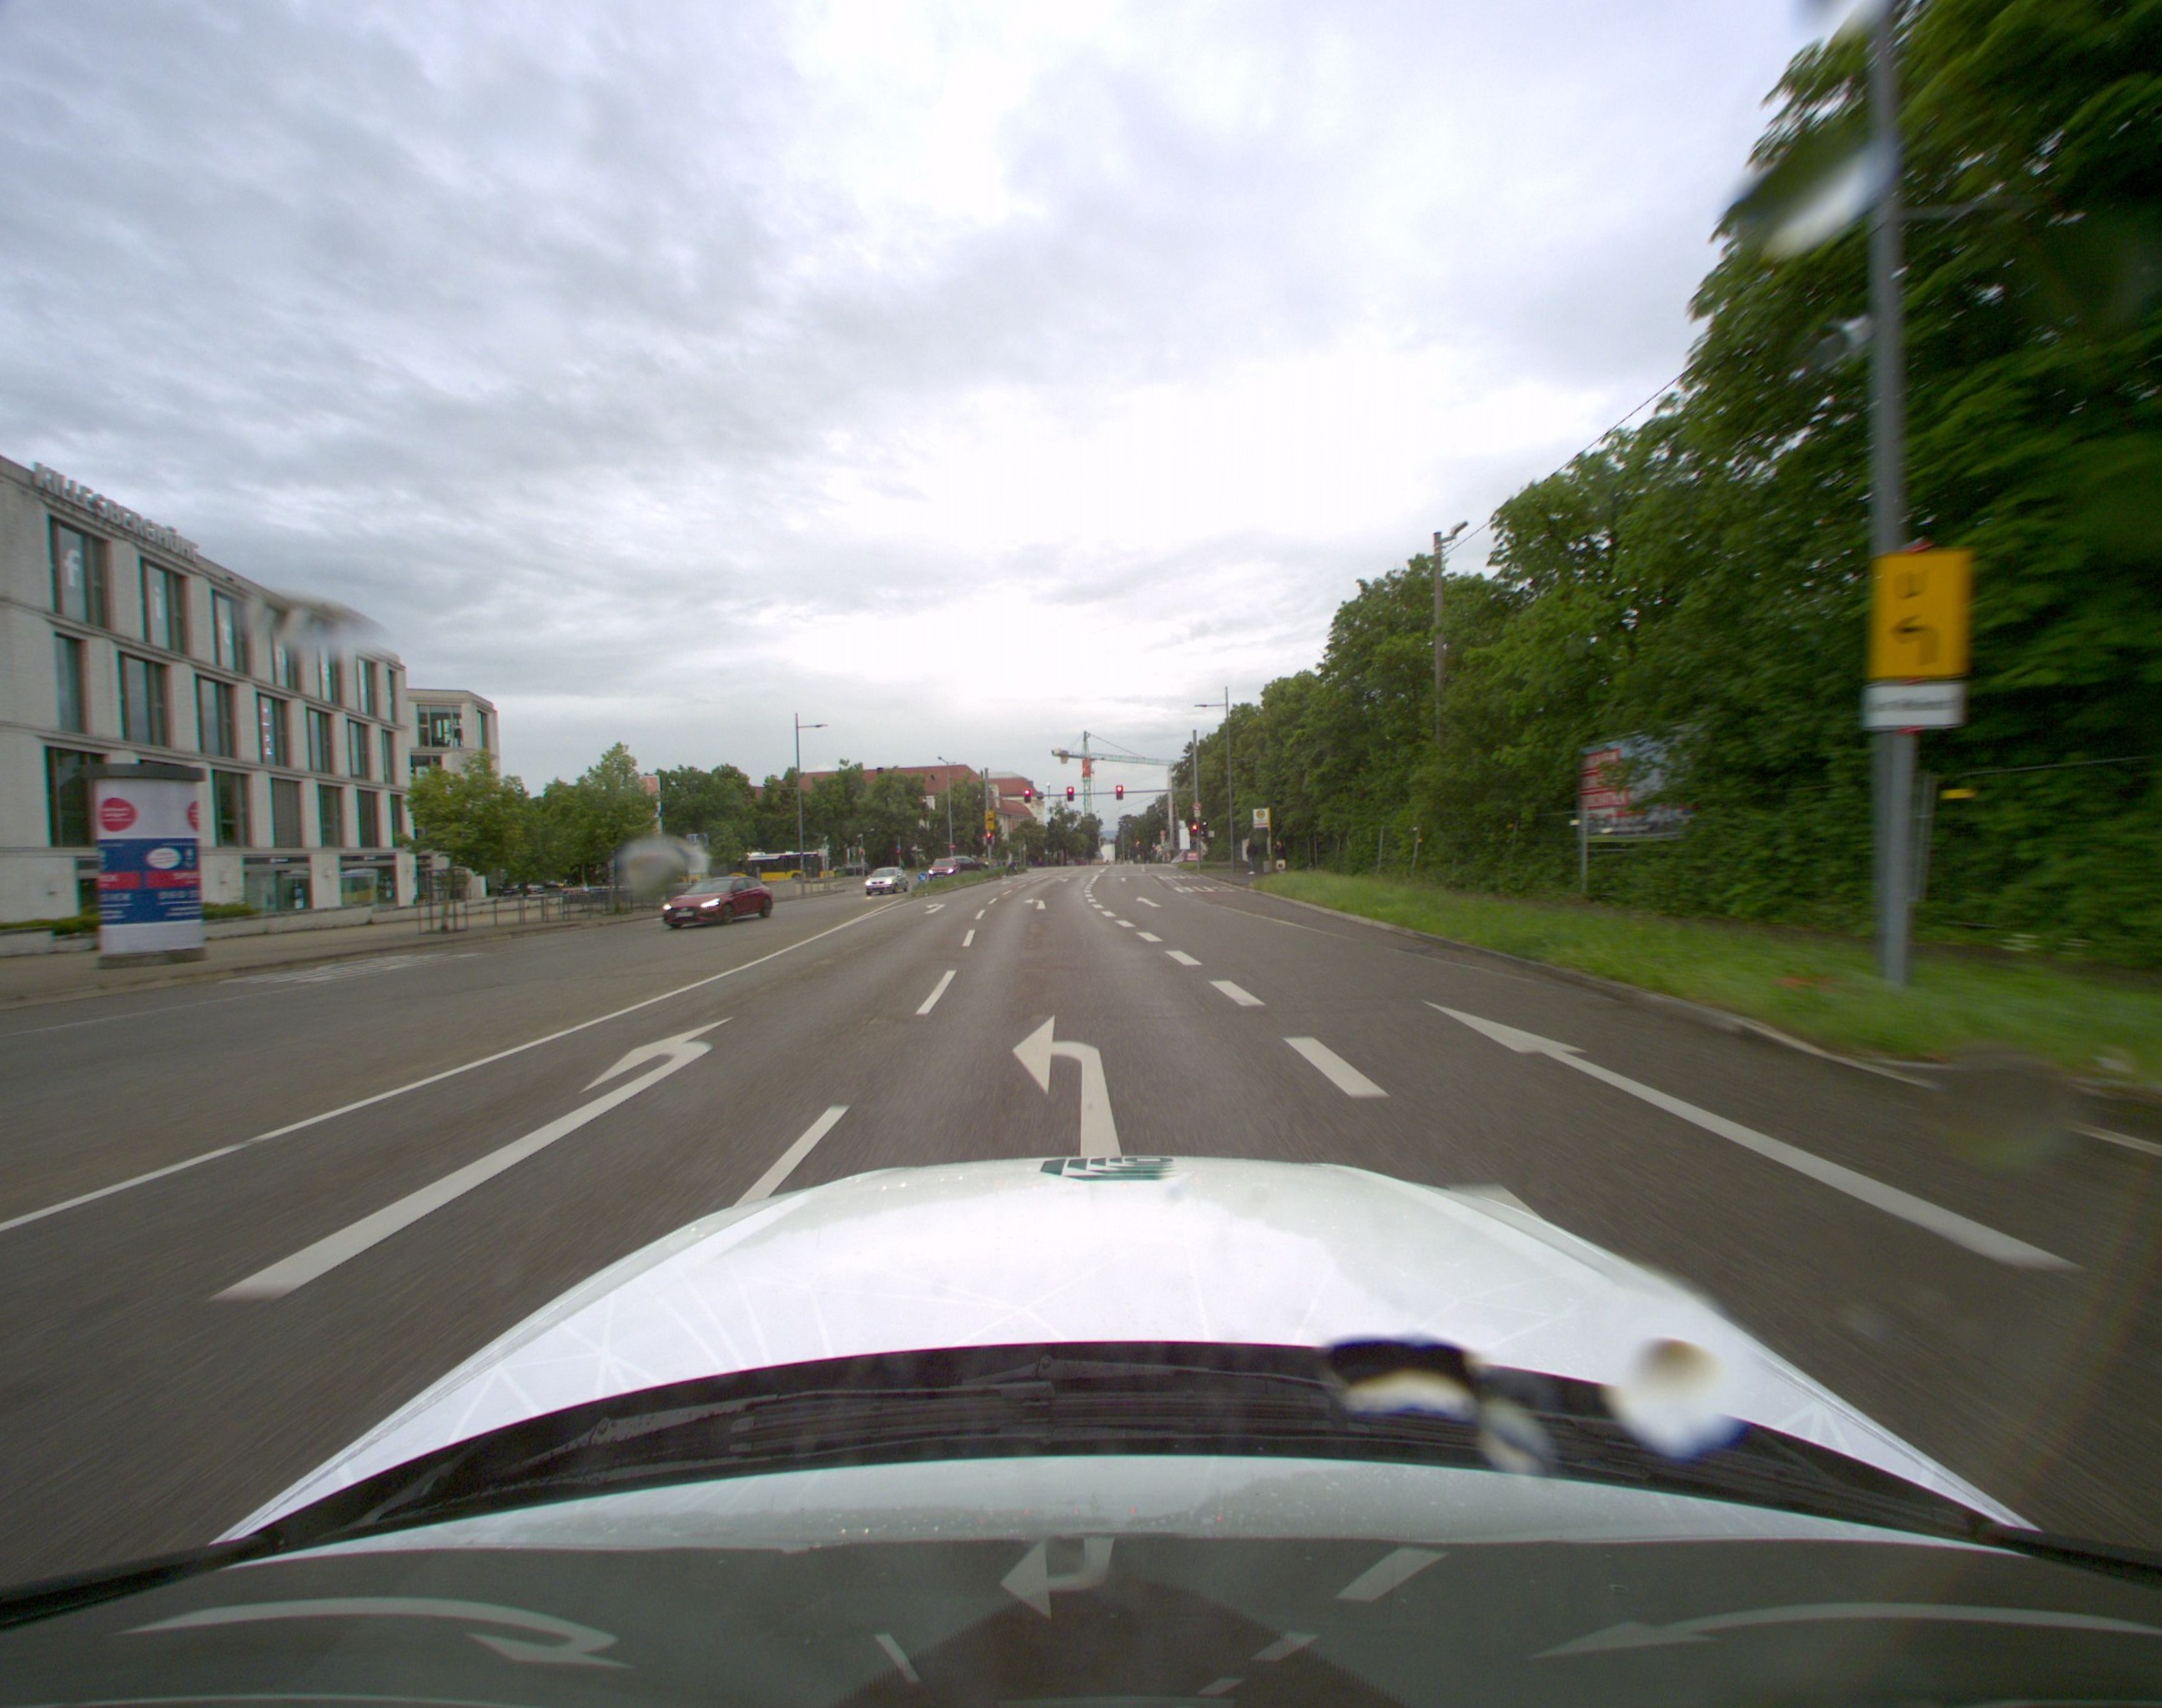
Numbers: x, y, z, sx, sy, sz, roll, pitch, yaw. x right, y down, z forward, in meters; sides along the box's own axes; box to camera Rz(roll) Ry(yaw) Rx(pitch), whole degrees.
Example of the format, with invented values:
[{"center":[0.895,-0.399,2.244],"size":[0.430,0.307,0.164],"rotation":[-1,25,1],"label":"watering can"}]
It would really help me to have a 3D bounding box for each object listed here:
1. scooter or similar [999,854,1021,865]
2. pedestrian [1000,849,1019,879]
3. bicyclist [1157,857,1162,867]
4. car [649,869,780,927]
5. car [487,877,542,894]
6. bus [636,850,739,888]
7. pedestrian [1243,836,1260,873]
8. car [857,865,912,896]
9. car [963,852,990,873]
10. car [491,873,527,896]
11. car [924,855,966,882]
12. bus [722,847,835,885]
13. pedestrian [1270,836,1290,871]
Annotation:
[{"center":[-10.133,0.766,116.365],"size":[3.077,1.440,0.949],"rotation":[-3,0,0],"label":"scooter or similar"},{"center":[-4.957,0.694,56.408],"size":[0.935,2.013,0.849],"rotation":[-5,-1,8],"label":"pedestrian"},{"center":[12.832,1.360,133.276],"size":[0.717,1.564,1.144],"rotation":[0,-2,4],"label":"bicyclist"},{"center":[-11.330,1.307,25.556],"size":[1.824,1.416,4.468],"rotation":[-4,0,2],"label":"car"},{"center":[-53.009,2.895,76.202],"size":[3.953,1.425,1.669],"rotation":[-2,0,1],"label":"car"},{"center":[-37.912,1.421,78.615],"size":[8.508,3.307,2.901],"rotation":[-2,0,4],"label":"bus"},{"center":[9.066,0.016,43.390],"size":[0.639,1.901,0.717],"rotation":[-2,0,-3],"label":"pedestrian"},{"center":[-10.572,1.381,44.051],"size":[1.755,1.416,3.881],"rotation":[-4,0,2],"label":"car"},{"center":[-10.560,0.925,82.351],"size":[1.936,2.021,4.553],"rotation":[0,-2,2],"label":"car"},{"center":[-47.905,2.540,68.304],"size":[1.782,1.731,3.966],"rotation":[-2,0,-25],"label":"car"},{"center":[-9.489,0.974,57.361],"size":[1.846,1.683,4.740],"rotation":[-4,0,2],"label":"car"},{"center":[-28.896,1.124,77.993],"size":[9.681,3.103,2.901],"rotation":[-2,0,4],"label":"bus"},{"center":[9.472,-0.029,38.813],"size":[0.674,1.658,0.792],"rotation":[-2,0,-3],"label":"pedestrian"}]
